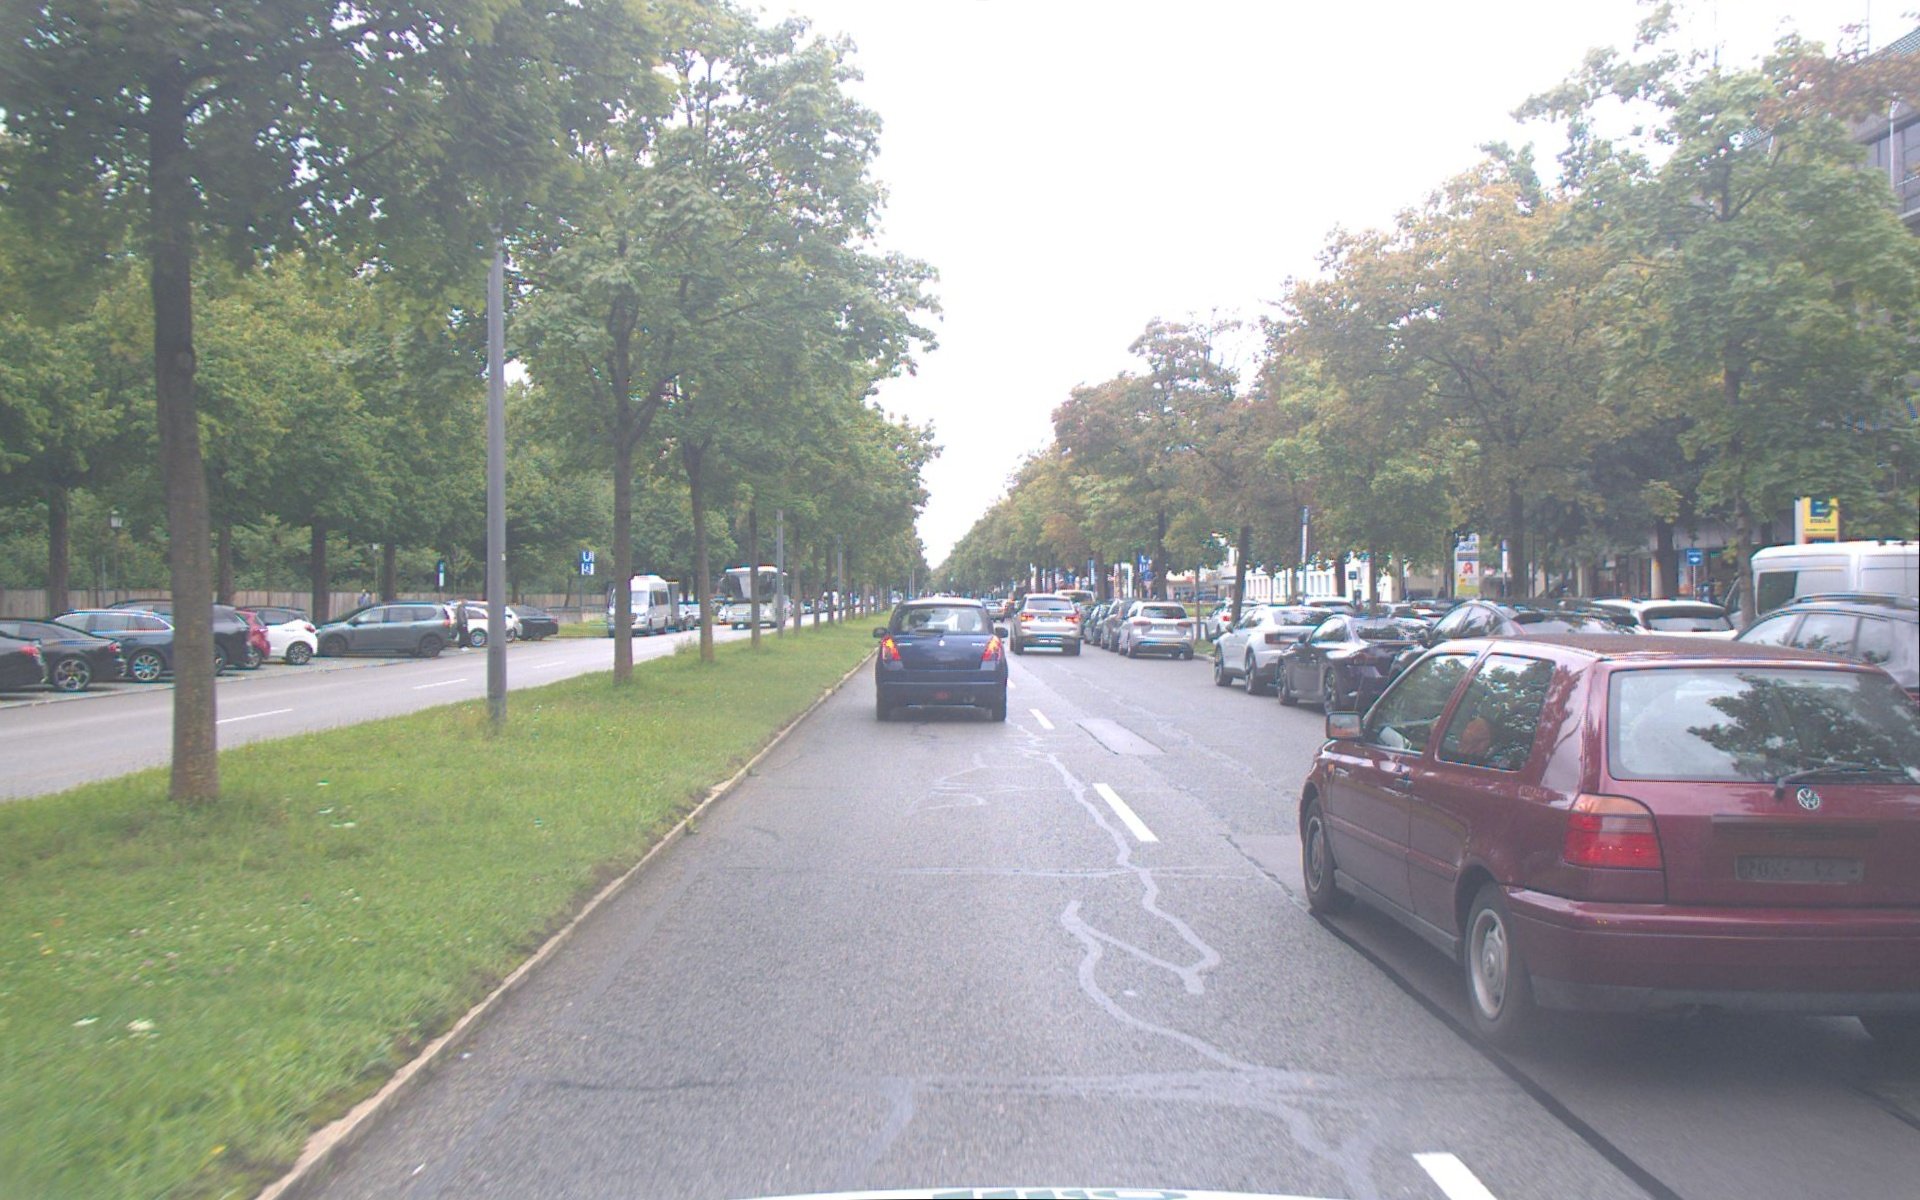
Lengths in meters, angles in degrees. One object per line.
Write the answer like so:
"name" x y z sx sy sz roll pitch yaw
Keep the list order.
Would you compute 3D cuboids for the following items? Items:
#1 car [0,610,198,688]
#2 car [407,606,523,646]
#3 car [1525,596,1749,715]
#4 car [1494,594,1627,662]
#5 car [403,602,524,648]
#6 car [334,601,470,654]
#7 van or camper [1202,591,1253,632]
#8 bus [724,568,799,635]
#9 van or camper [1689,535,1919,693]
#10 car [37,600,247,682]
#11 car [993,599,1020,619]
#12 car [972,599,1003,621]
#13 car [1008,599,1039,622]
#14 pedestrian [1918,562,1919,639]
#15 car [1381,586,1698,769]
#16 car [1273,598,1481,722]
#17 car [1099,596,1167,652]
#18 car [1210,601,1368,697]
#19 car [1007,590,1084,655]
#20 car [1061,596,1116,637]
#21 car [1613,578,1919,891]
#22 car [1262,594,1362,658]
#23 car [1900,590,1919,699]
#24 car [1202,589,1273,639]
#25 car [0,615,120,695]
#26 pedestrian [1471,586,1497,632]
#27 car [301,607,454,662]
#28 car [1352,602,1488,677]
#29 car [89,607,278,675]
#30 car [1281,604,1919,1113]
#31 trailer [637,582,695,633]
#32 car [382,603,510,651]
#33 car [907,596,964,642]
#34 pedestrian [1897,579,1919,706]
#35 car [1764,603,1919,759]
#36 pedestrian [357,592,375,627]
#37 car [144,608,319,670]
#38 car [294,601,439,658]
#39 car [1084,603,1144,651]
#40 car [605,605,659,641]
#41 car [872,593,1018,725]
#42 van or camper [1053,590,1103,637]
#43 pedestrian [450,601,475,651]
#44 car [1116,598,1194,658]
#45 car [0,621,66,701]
"car" -18.310 0.983 34.612 4.059 1.495 1.896 -1 0 -35
"car" -19.589 1.006 65.541 4.059 1.500 1.896 -1 0 -35
"car" 9.873 0.751 24.464 1.650 1.613 4.008 0 0 0
"car" 15.457 0.687 42.827 1.650 1.661 4.496 0 0 -3
"car" -18.881 0.924 62.987 4.059 1.681 1.896 -1 0 -35
"car" -18.989 0.908 56.325 4.059 1.725 1.896 -1 0 -35
"van or camper" 13.690 0.582 84.855 1.905 2.009 4.306 0 0 0
"bus" -11.087 0.070 93.550 2.682 3.436 12.012 -2 0 0
"van or camper" 15.722 0.216 30.360 1.983 2.602 5.955 -1 0 -1
"car" -18.465 0.884 37.374 4.059 1.709 1.896 -1 0 -35
"car" 3.529 0.646 125.887 1.813 1.472 4.095 0 0 -2
"car" 1.822 0.649 110.081 1.813 1.472 4.095 0 0 -2
"car" 4.296 0.708 112.054 1.813 1.472 4.095 0 0 -2
"pedestrian" 23.679 0.003 40.020 0.547 1.862 0.679 0 0 -12
"car" 5.898 0.707 17.438 1.728 1.680 4.423 0 0 -1
"car" 5.706 0.758 23.160 1.728 1.573 4.423 0 0 -1
"car" 5.381 0.708 51.838 1.650 1.654 4.306 1 0 0
"car" 5.646 0.793 28.884 1.672 1.479 4.510 2 0 -2
"car" 2.405 0.604 47.160 1.813 1.773 4.095 0 0 -2
"car" 5.201 0.654 67.155 1.651 1.581 4.303 0 0 -3
"car" 5.977 0.714 10.762 1.687 1.680 4.388 0 0 0
"car" 9.573 0.678 45.313 1.650 1.661 4.779 0 0 -1
"car" 15.844 0.687 24.277 1.712 1.693 4.007 0 0 -2
"car" 9.340 0.454 55.923 1.650 1.613 4.027 0 0 -1
"car" -18.323 1.042 31.289 4.149 1.434 1.896 -1 0 -35
"pedestrian" 19.837 0.333 62.642 0.732 1.736 0.702 -1 0 -1
"car" -17.822 1.035 50.663 4.133 1.569 1.899 -1 0 -32
"car" 9.717 0.786 35.292 1.649 1.479 4.735 0 0 1
"car" -19.095 0.973 40.724 4.054 1.527 1.899 -1 0 -32
"car" 2.556 0.766 6.882 1.589 1.479 3.948 0 0 -1
"trailer" -15.447 0.383 87.125 2.063 2.585 5.575 -1 0 -1
"car" -18.621 0.957 59.967 4.059 1.612 1.896 -1 0 -35
"car" -0.876 0.616 56.018 1.813 1.472 4.095 0 0 -2
"pedestrian" 14.733 0.638 24.781 0.857 1.883 0.903 1 0 -2
"car" 10.149 0.791 16.983 1.712 1.505 4.007 0 0 -2
"pedestrian" -28.020 0.453 77.962 0.671 1.640 0.685 0 0 -32
"car" -19.309 1.004 43.868 4.054 1.527 1.899 -1 0 -32
"car" -18.983 0.922 52.966 4.059 1.725 1.896 -1 0 -35
"car" 5.265 0.900 56.998 1.650 1.581 4.306 0 0 0
"car" -15.381 1.061 77.710 1.875 1.569 4.186 -1 0 -2
"car" -0.257 0.708 21.956 1.753 1.583 3.998 0 0 -2
"van or camper" 5.255 0.586 73.961 1.905 2.009 4.306 0 0 0
"pedestrian" -16.747 0.872 55.709 0.711 1.640 0.679 0 0 -9
"car" 5.415 0.745 46.369 1.650 1.552 4.455 1 0 0
"car" -17.835 1.075 28.463 4.153 1.345 1.896 -1 0 -35
